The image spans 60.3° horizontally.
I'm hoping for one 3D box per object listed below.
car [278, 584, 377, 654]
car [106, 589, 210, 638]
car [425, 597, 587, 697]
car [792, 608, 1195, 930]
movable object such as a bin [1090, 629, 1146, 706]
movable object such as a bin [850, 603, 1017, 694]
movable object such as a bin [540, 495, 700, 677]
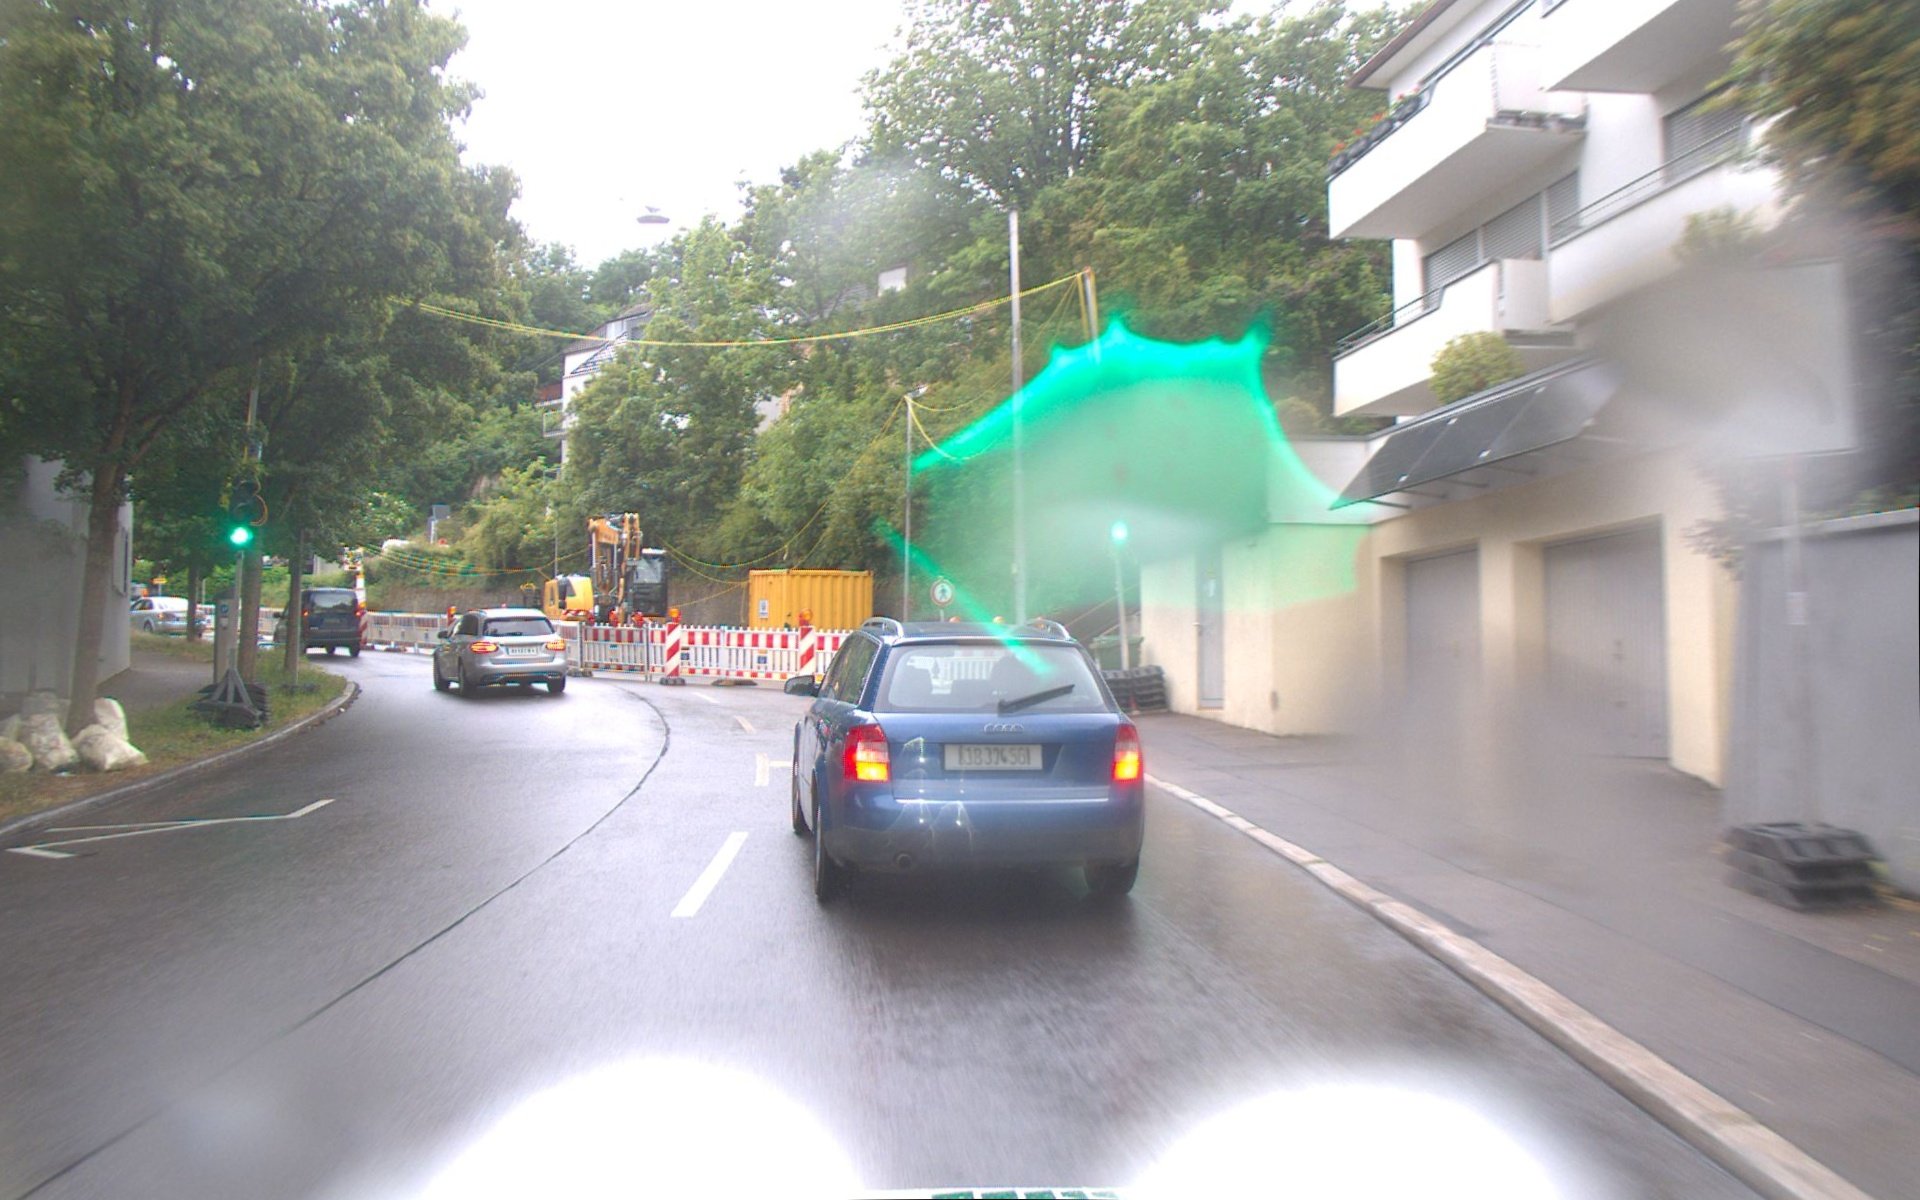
[{"bbox_3d":[-17.693,0.529,46.158,1.973,1.825,3.960,-2,0,-30],"label":"car"},{"bbox_3d":[-27.522,0.472,56.743,4.000,1.512,1.717,-2,0,40],"label":"car"},{"bbox_3d":[-8.228,0.770,29.704,1.905,1.646,4.279,0,0,-29],"label":"car"},{"bbox_3d":[-0.024,0.791,9.755,1.752,1.467,3.956,-1,0,-8],"label":"car"},{"bbox_3d":[2.253,0.957,23.634,0.705,1.050,0.592,-1,0,-4],"label":"movable object such as a bin"},{"bbox_3d":[-0.579,0.867,31.362,1.965,1.546,3.976,0,0,-21],"label":"movable object such as a bin"},{"bbox_3d":[-8.590,-0.342,41.133,2.779,4.084,7.281,0,0,-21],"label":"movable object such as a bin"}]
